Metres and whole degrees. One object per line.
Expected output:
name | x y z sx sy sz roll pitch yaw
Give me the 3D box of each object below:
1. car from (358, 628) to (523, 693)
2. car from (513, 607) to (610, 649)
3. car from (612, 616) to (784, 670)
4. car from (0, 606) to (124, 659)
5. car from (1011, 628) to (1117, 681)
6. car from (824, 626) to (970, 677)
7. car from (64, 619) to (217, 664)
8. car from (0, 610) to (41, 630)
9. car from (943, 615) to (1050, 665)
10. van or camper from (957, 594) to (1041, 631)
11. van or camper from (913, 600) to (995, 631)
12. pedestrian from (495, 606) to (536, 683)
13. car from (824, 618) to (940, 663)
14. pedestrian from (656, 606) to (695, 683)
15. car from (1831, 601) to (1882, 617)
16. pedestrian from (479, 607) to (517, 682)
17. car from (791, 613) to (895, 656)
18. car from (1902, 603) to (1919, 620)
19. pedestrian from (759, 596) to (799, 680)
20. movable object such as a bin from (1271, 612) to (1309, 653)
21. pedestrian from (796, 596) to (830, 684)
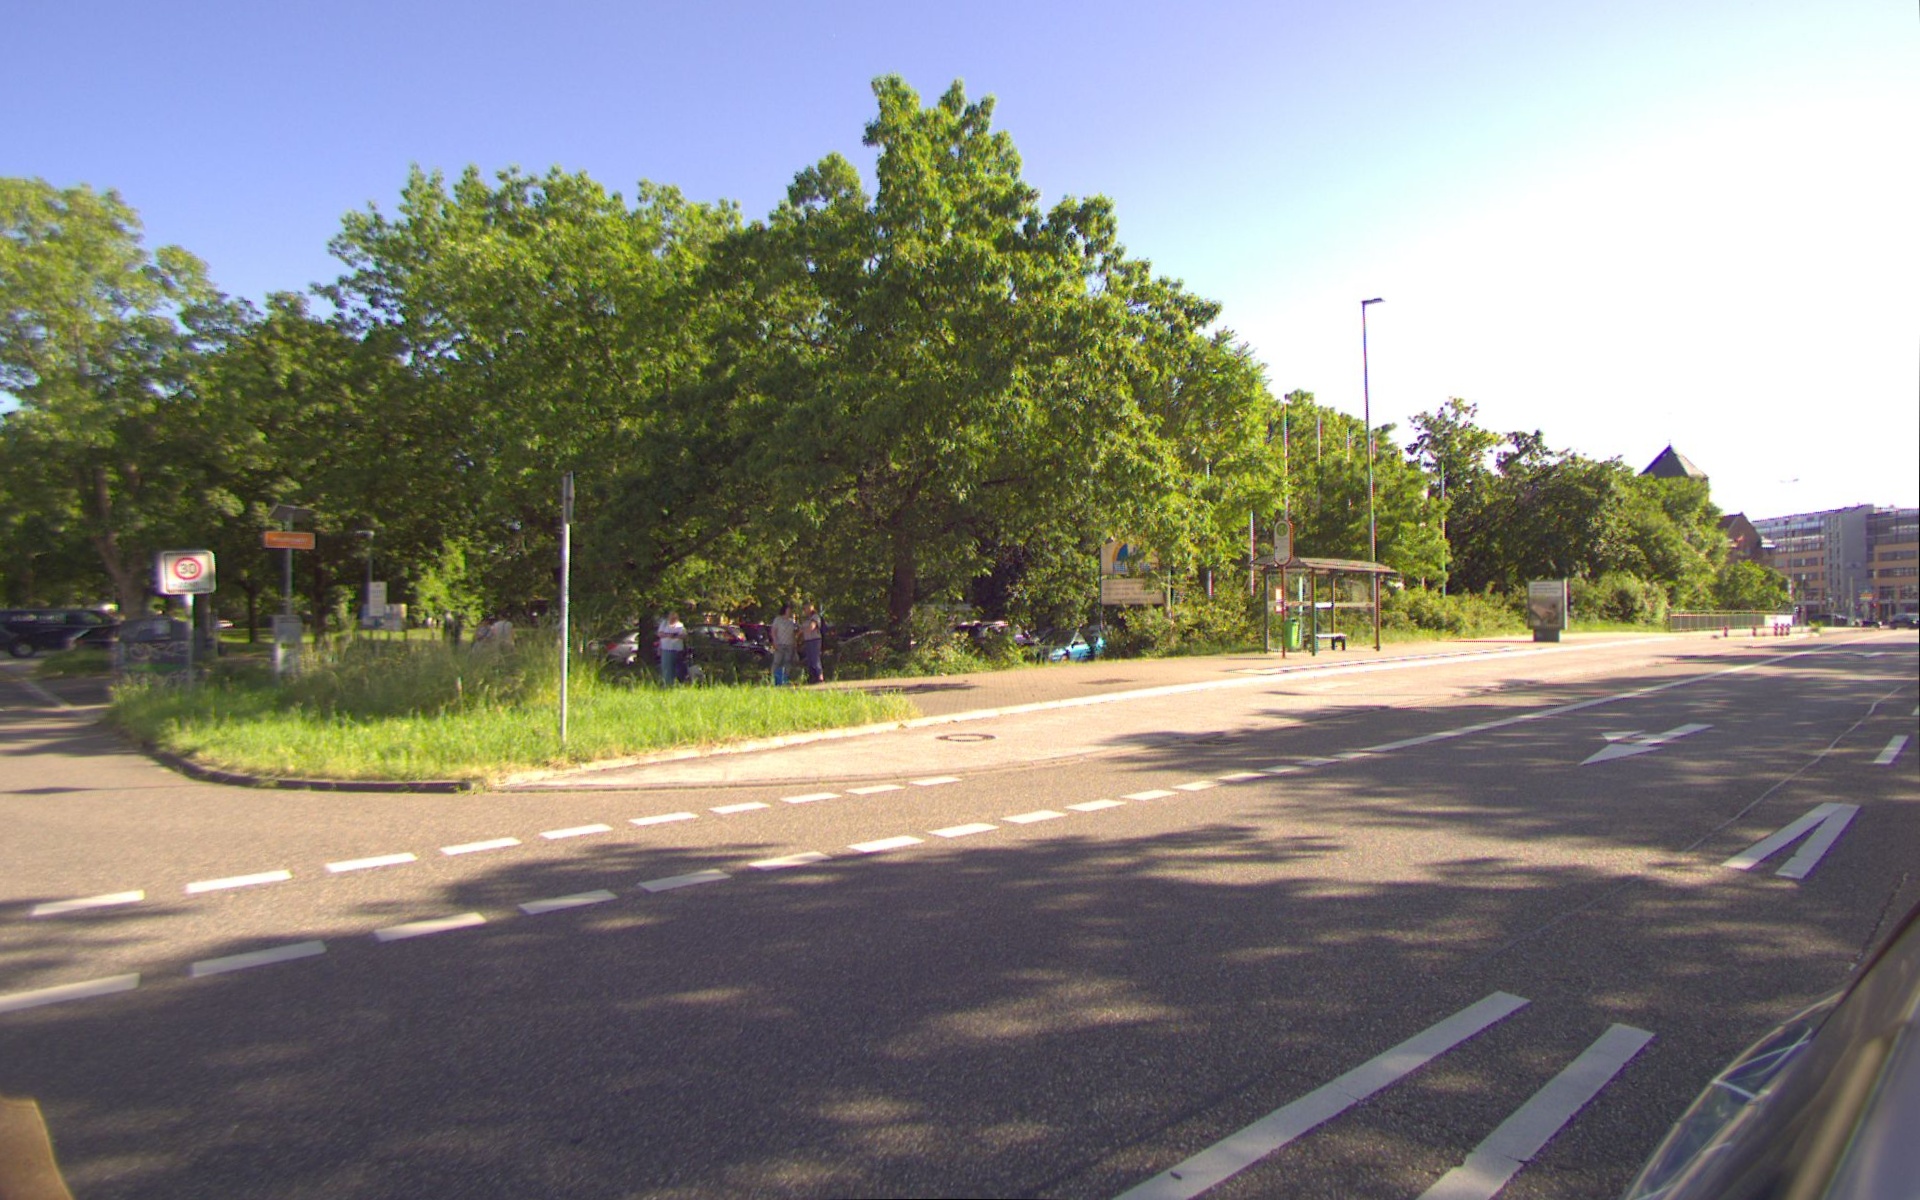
car | -15.100 1.705 29.481 3.929 1.628 1.997 -1 -1 -40
car | -13.621 0.945 34.547 3.636 1.290 1.600 -1 1 42
car | -8.116 1.384 31.622 4.803 1.558 1.996 3 -4 -41
car | -38.013 1.348 42.622 4.275 2.100 1.997 0 -1 -41
car | 3.642 1.843 35.173 3.551 1.658 1.764 0 -1 -42
car | -1.588 1.308 26.492 3.848 1.169 1.397 0 -1 -45
car | -27.922 1.403 34.673 3.925 1.314 1.999 -1 -1 -36
car | -83.227 1.757 88.608 1.993 1.677 3.937 -3 -1 44
car | 1.396 1.454 37.487 3.931 1.685 1.607 0 -2 -42
van or camper | 2.446 0.735 62.609 2.448 2.186 5.248 -1 -1 41
van or camper | -0.335 0.993 65.119 2.449 1.937 5.246 -1 -1 42
pedestrian | -9.764 0.967 22.221 0.702 1.640 0.558 -3 -2 41
car | -3.171 1.707 41.976 4.693 1.773 1.754 3 -4 -41
pedestrian | -5.807 0.906 20.676 0.603 1.538 0.528 0 -2 -41
car | 97.537 0.953 110.078 1.967 1.653 3.989 0 -1 -44
pedestrian | -10.427 1.002 22.820 0.596 1.640 0.558 -3 -2 41
car | -4.964 1.454 43.207 3.929 1.616 1.997 -1 -1 -39
car | 84.355 0.963 87.956 1.802 1.492 3.986 -1 -1 11
pedestrian | -3.667 0.760 20.469 0.542 1.655 0.622 1 -2 -43
movable object such as a bin | 8.497 0.824 26.052 0.568 1.043 0.727 1 -1 -43
pedestrian | -2.949 0.795 20.351 0.403 1.722 0.602 1 -2 -43
